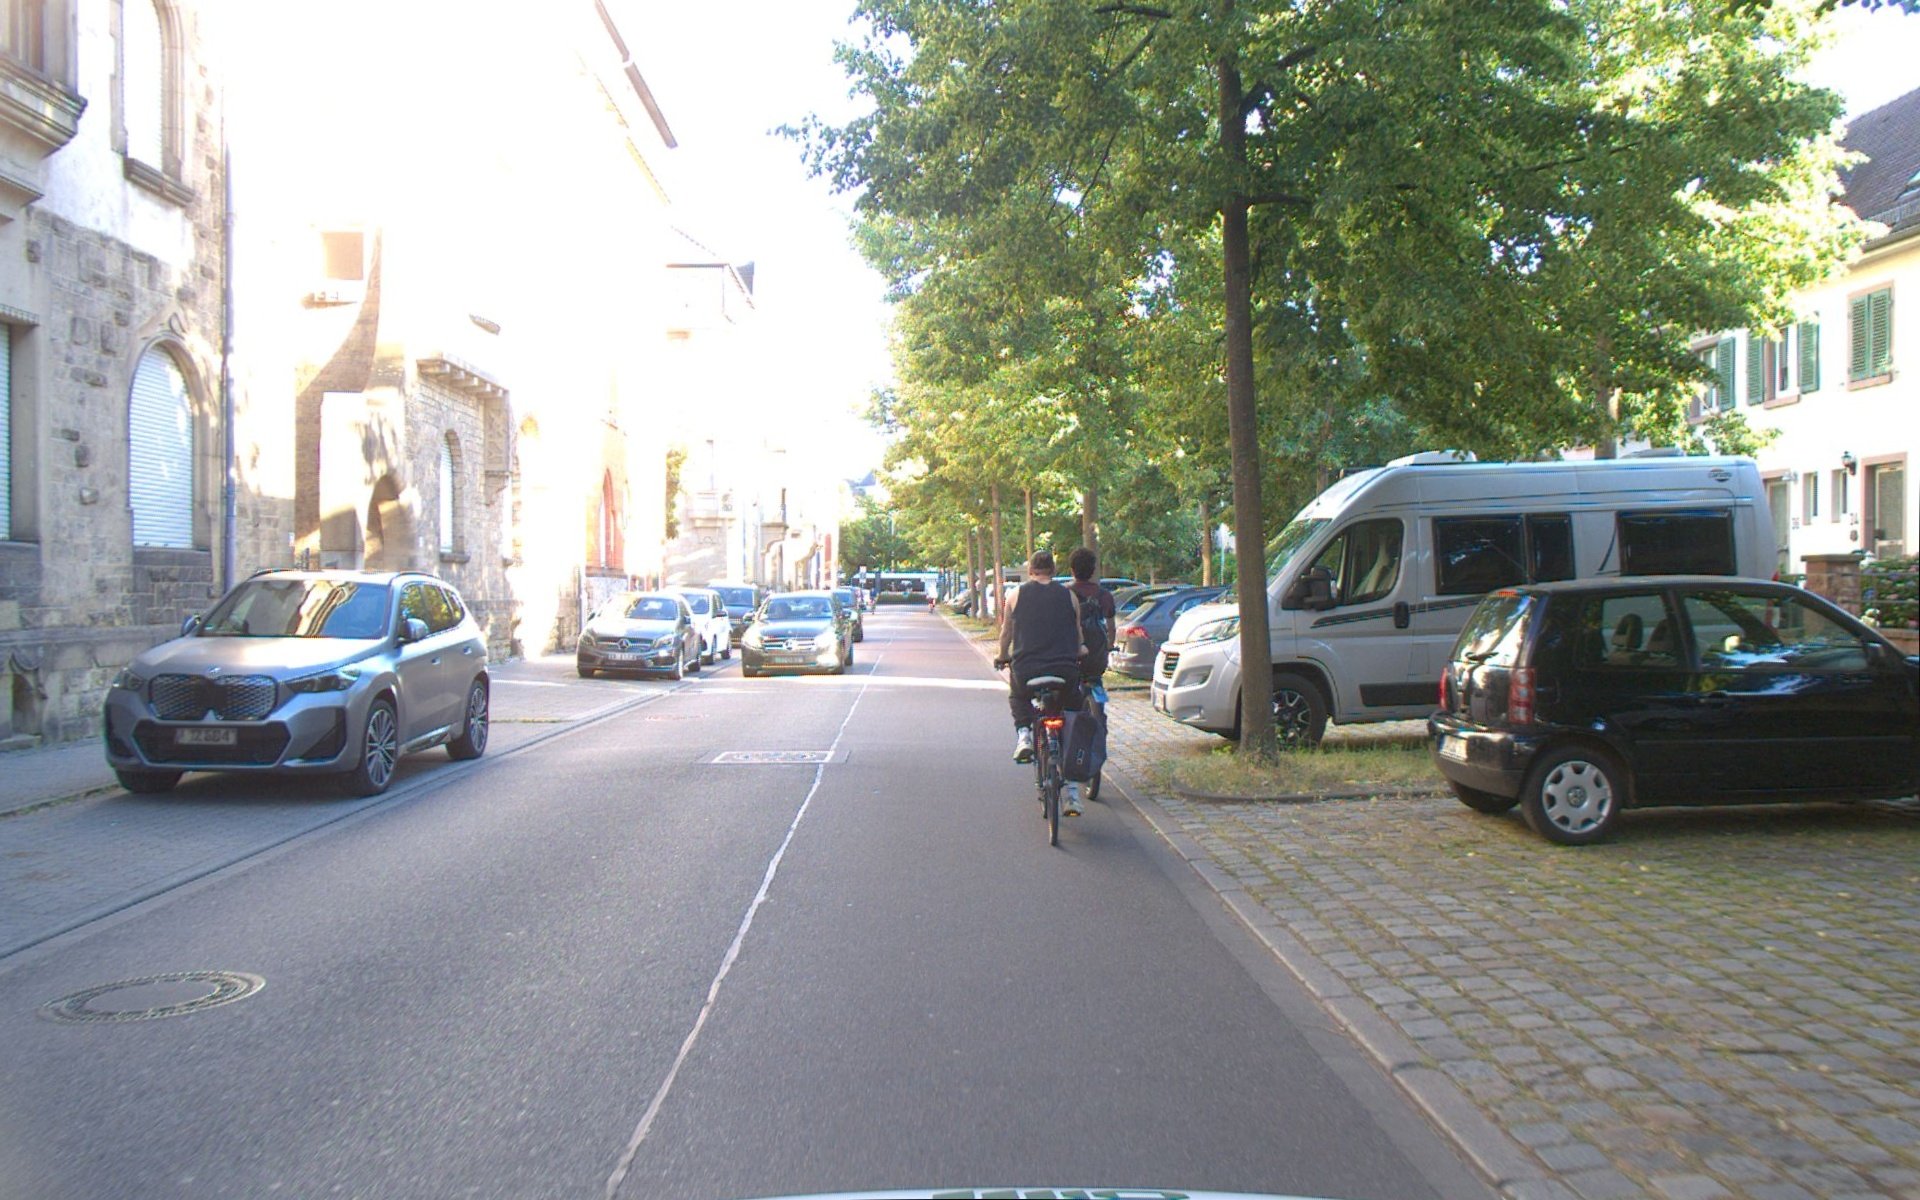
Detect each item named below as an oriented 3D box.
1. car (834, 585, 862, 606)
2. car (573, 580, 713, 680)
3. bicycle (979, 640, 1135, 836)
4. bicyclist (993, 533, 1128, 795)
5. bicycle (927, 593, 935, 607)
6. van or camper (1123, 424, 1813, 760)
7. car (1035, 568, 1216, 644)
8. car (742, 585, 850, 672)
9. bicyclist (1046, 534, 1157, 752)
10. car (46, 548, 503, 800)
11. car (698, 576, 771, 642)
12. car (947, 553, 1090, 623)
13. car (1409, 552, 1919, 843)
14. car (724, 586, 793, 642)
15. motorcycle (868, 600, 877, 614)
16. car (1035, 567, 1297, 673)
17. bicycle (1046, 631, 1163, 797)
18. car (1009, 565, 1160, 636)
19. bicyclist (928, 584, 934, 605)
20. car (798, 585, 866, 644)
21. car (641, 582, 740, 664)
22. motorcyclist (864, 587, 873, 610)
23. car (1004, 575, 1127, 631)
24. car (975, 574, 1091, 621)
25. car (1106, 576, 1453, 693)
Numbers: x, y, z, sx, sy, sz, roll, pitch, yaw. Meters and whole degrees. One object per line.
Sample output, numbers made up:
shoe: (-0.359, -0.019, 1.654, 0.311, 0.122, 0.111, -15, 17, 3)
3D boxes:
car: (-8.423, -0.322, 124.524, 1.953, 1.557, 3.999, 0, -1, -1)
car: (-5.550, 0.511, 29.416, 1.720, 1.543, 4.113, 4, 0, -2)
bicycle: (0.568, 0.812, 10.456, 0.682, 1.091, 1.966, 0, -1, -6)
bicyclist: (0.608, 0.383, 10.321, 0.692, 1.553, 0.971, 0, -1, -6)
bicycle: (-1.880, -0.005, 107.102, 0.530, 0.842, 1.918, 0, -1, -1)
van or camper: (4.409, -0.072, 15.016, 5.464, 2.581, 2.267, -3, -1, -4)
car: (3.968, 0.147, 40.203, 4.157, 1.676, 1.854, -2, -1, -1)
car: (-3.011, 0.517, 30.815, 1.859, 1.512, 4.377, 0, -1, -4)
bicyclist: (1.042, 0.312, 12.329, 0.704, 1.553, 0.971, 0, -1, -2)
car: (-5.119, 0.506, 13.116, 2.009, 1.650, 4.392, 0, -1, -4)
car: (-5.995, 0.248, 44.265, 1.598, 1.694, 3.966, 0, -1, -3)
car: (2.962, -0.595, 84.927, 7.183, 3.339, 2.223, -2, -1, -1)
car: (4.640, 0.513, 9.782, 3.431, 1.498, 1.750, -1, -1, -3)
car: (-6.012, 0.402, 49.690, 1.583, 1.508, 4.017, 4, 0, -2)
motorcycle: (-5.500, 0.437, 104.283, 0.540, 0.815, 1.307, -1, 0, -4)
car: (3.473, 0.336, 28.304, 4.160, 1.634, 1.752, -2, -1, -5)
bicycle: (1.044, 0.800, 12.359, 0.544, 1.091, 1.967, 0, 0, -5)
car: (3.546, 0.017, 47.603, 4.157, 1.872, 1.854, -2, -1, -1)
bicyclist: (-1.870, -0.351, 107.126, 0.408, 1.374, 0.430, 0, -1, -2)
car: (-3.796, 0.424, 49.571, 1.731, 1.627, 4.088, -3, 0, -2)
car: (-5.605, 0.464, 34.768, 1.461, 1.543, 3.774, 4, 0, -2)
motorcyclist: (-5.731, -0.102, 103.997, 0.540, 1.474, 0.687, -1, 0, -4)
car: (3.676, 0.117, 58.023, 4.157, 1.828, 1.854, -2, -1, -1)
car: (2.995, -0.090, 68.215, 4.660, 1.811, 1.854, -2, -1, -1)
car: (4.299, 0.460, 22.770, 4.410, 1.478, 1.816, -1, 0, -1)
